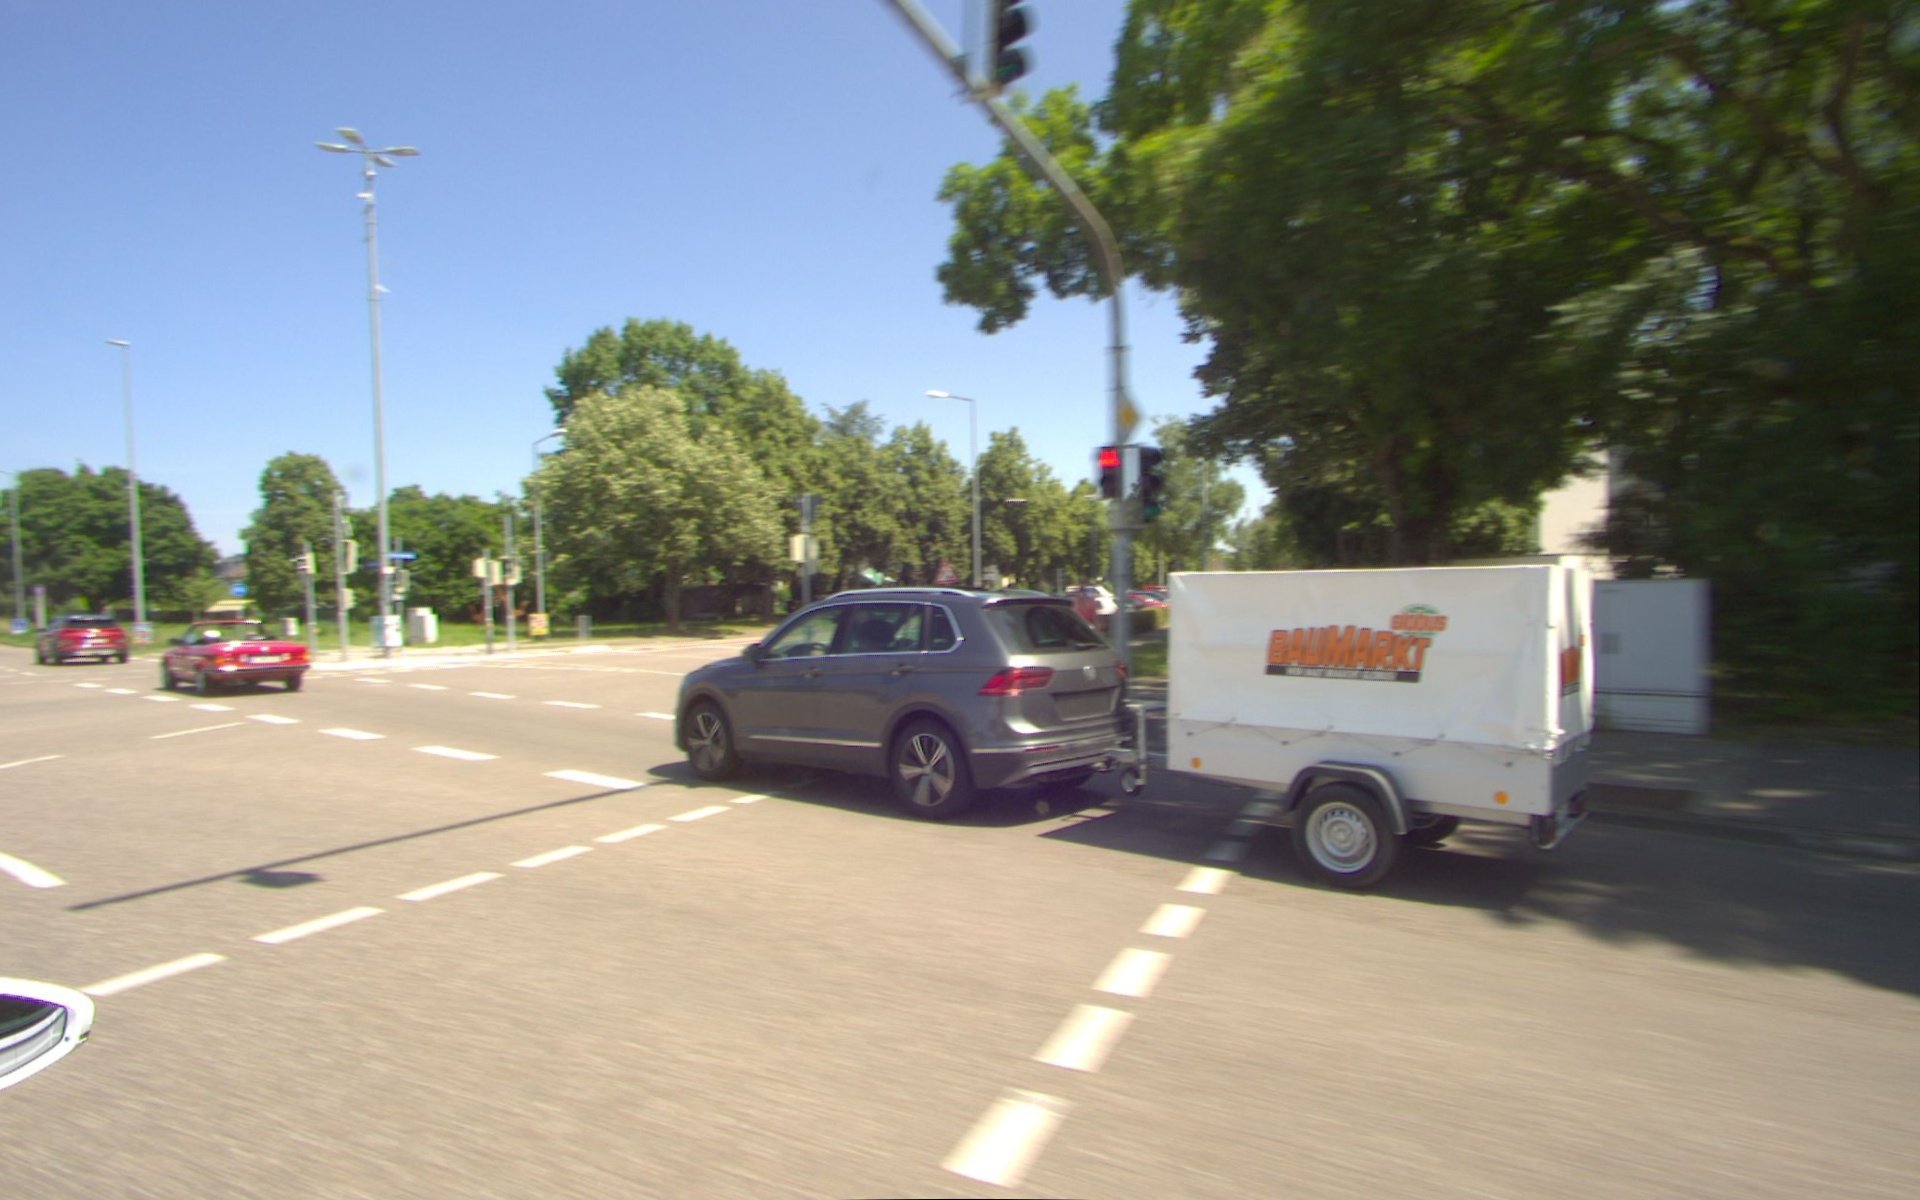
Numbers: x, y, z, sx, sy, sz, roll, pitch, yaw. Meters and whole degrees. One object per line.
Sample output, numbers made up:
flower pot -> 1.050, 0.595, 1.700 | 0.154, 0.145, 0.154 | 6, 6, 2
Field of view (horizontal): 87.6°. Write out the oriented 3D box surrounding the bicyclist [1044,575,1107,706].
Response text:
bicyclist -> 1.374, 0.463, 11.961 | 0.604, 1.489, 0.628 | -2, 3, -4

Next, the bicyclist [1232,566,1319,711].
bicyclist -> 3.595, 0.409, 11.462 | 0.635, 1.566, 0.908 | -2, 4, -4

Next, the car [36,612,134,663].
car -> -28.392, 1.167, 32.436 | 4.362, 1.479, 1.833 | -1, 1, 42

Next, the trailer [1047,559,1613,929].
trailer -> 2.108, 0.664, 6.012 | 2.903, 1.676, 1.398 | 0, 0, 40

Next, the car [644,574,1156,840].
car -> -0.700, 0.703, 8.415 | 4.357, 1.680, 1.718 | -1, 0, 41

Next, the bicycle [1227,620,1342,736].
bicycle -> 3.651, 0.835, 11.418 | 0.604, 1.078, 1.804 | -2, 3, -4

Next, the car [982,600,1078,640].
car -> 2.717, 0.791, 38.969 | 3.430, 1.447, 1.582 | -2, -2, 18

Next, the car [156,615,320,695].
car -> -14.274, 1.006, 19.713 | 4.262, 1.366, 1.752 | 0, 0, 42

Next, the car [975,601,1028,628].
car -> 2.024, 0.719, 48.181 | 1.557, 1.242, 3.485 | -2, -2, 20

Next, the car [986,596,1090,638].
car -> 2.766, 0.615, 35.468 | 3.428, 1.447, 1.583 | -1, -1, 15
